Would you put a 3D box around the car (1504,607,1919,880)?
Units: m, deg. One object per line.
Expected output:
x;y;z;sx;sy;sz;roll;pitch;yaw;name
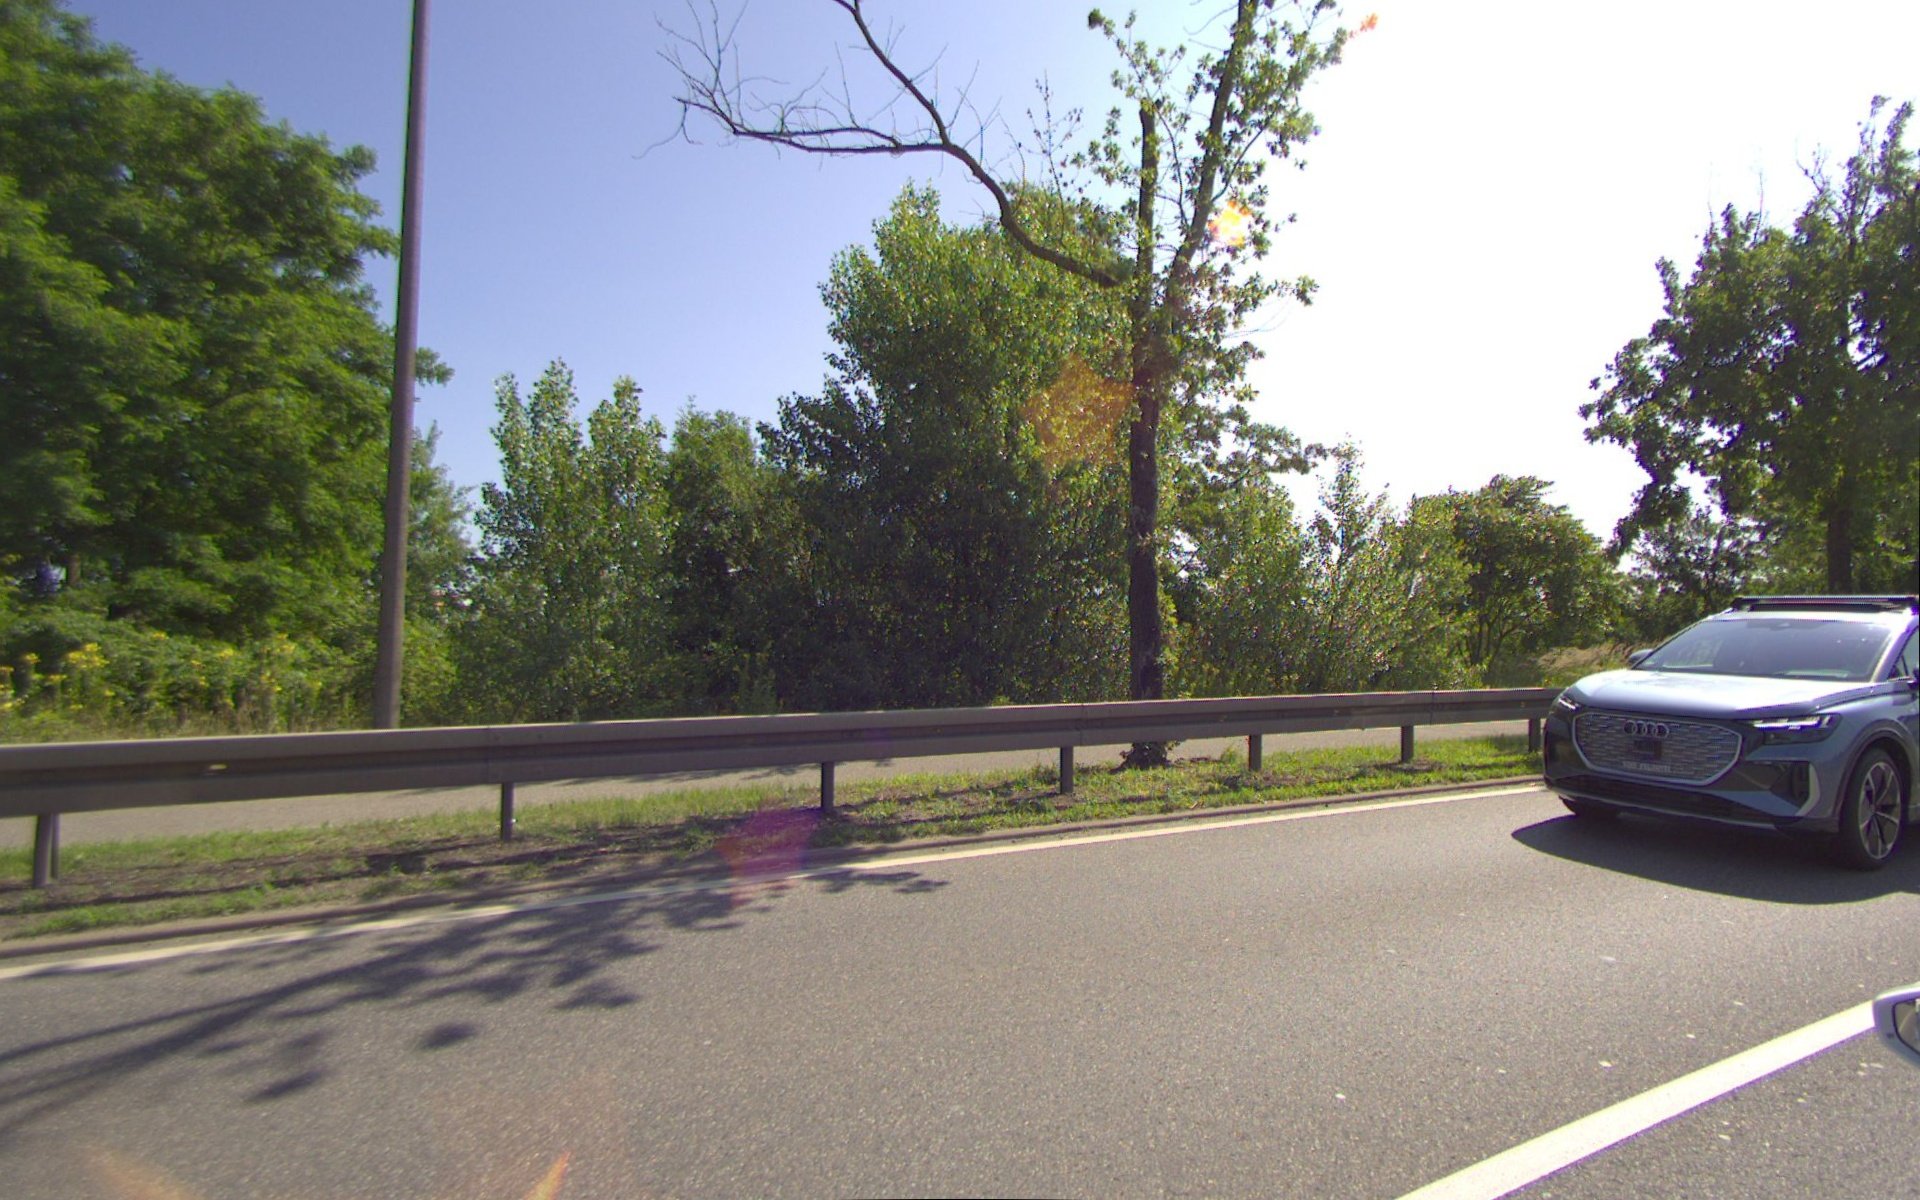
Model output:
6.279;0.864;7.514;4.064;1.553;1.923;1;-1;-27;car
